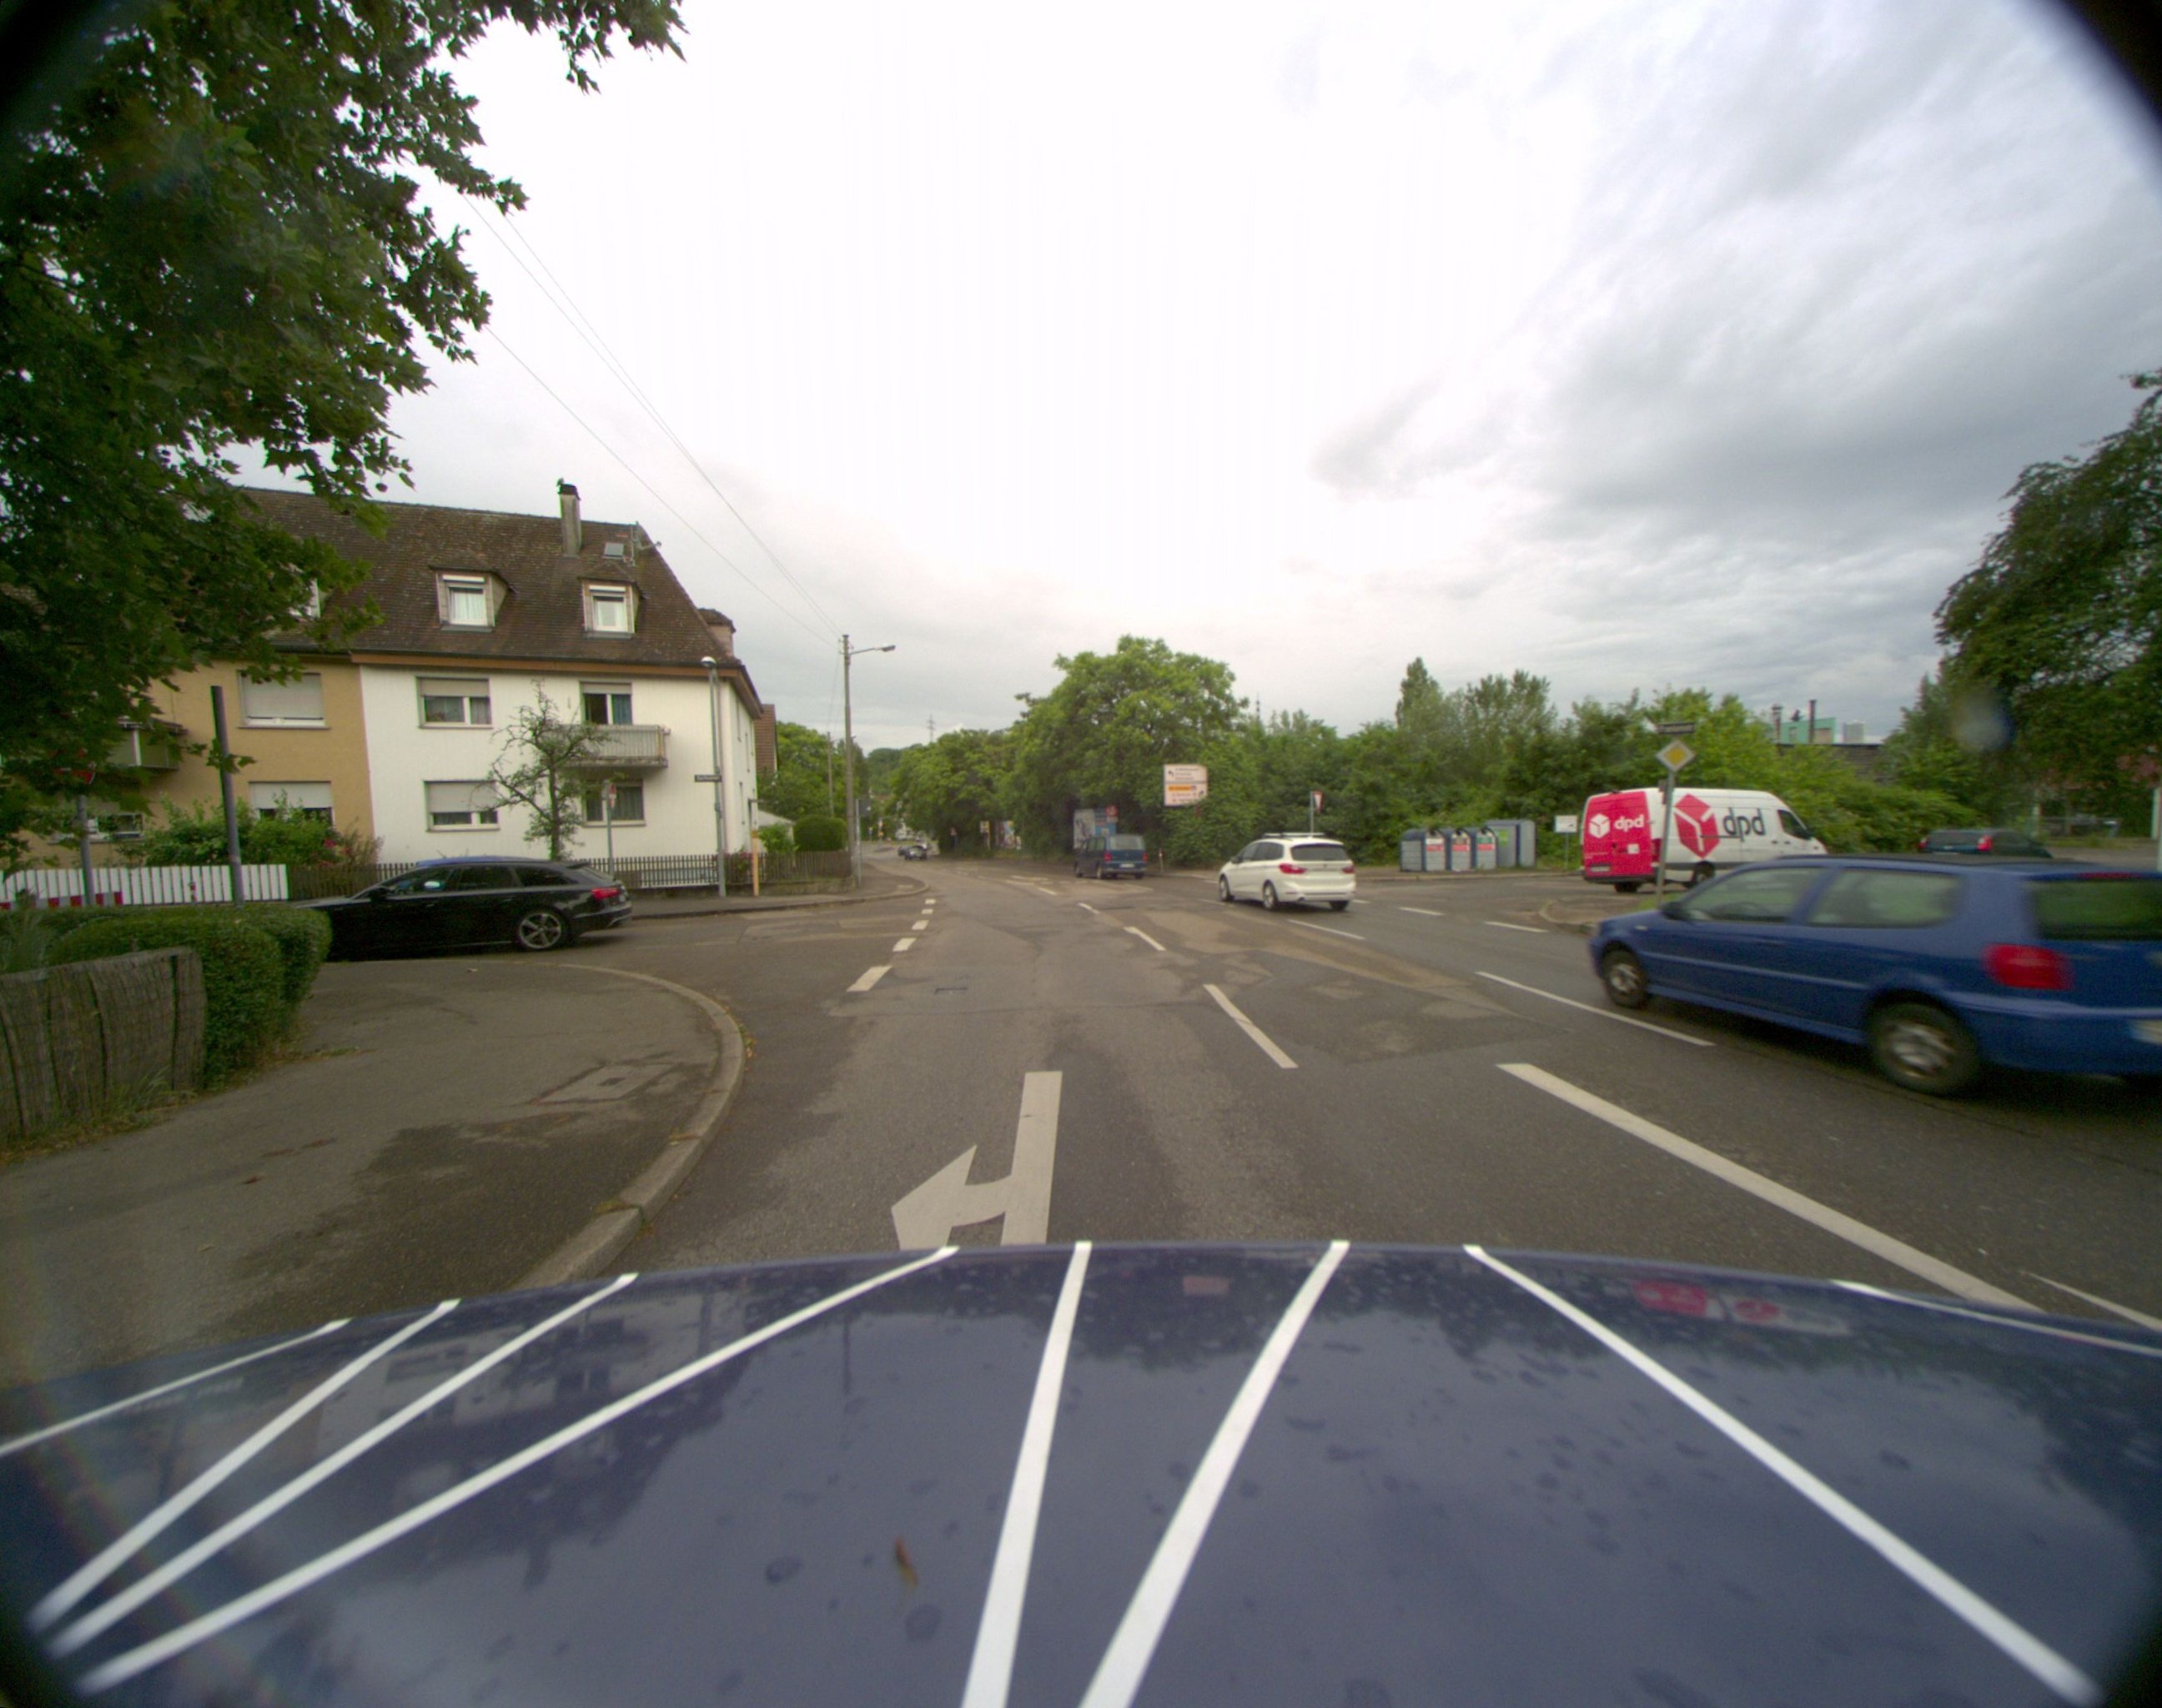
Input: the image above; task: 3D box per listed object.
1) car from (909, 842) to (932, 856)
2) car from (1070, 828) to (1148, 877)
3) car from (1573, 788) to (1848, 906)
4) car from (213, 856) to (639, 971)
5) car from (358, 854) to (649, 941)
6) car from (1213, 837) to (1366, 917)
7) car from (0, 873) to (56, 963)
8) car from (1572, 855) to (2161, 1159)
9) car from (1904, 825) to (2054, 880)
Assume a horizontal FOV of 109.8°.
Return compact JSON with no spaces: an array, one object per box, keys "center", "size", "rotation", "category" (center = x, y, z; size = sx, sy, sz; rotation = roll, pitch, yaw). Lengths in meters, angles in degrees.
[{"center":[-16.445,-0.532,77.506],"size":[1.902,1.453,3.993],"rotation":[-1,1,-17],"category":"car"},{"center":[1.086,-0.097,32.321],"size":[1.965,1.920,4.676],"rotation":[-2,1,-16],"category":"car"},{"center":[16.220,-0.283,19.575],"size":[6.829,2.641,2.259],"rotation":[-2,2,-19],"category":"car"},{"center":[-10.023,0.819,12.233],"size":[4.823,1.472,1.882],"rotation":[-1,1,-24],"category":"car"},{"center":[-11.082,0.770,14.975],"size":[4.130,1.472,1.883],"rotation":[-1,1,-17],"category":"car"},{"center":[4.710,0.439,17.888],"size":[1.837,1.569,4.329],"rotation":[-2,1,-9],"category":"car"},{"center":[-19.441,1.109,11.806],"size":[3.788,1.445,1.769],"rotation":[-2,1,-19],"category":"car"},{"center":[5.682,0.767,5.655],"size":[1.602,1.417,3.695],"rotation":[-2,1,-1],"category":"car"},{"center":[30.215,-0.105,25.578],"size":[4.257,1.620,1.996],"rotation":[-2,2,-22],"category":"car"}]
